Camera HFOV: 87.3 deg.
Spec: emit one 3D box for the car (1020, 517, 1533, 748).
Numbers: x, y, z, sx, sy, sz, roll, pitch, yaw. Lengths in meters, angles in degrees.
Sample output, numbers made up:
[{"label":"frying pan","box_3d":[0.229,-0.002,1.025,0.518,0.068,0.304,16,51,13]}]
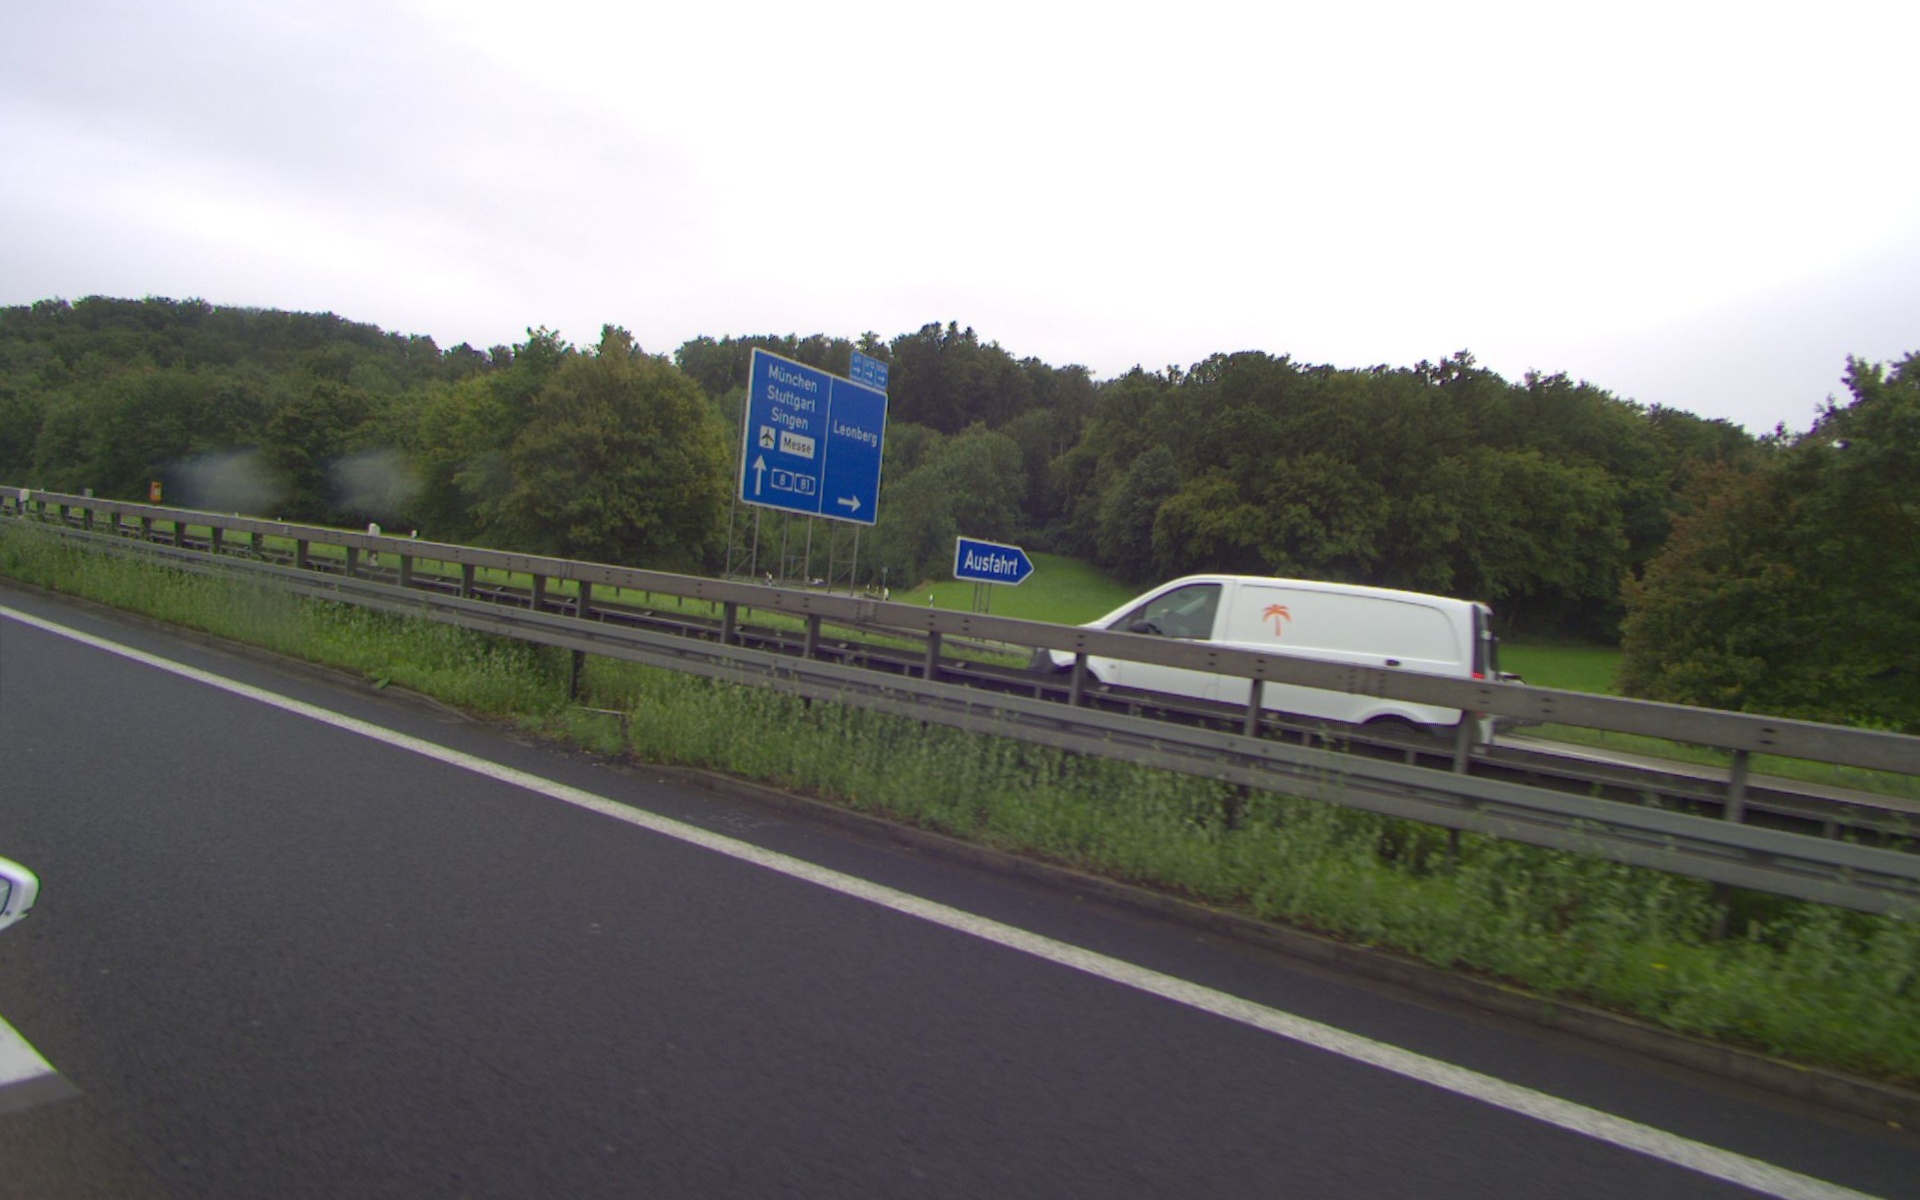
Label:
[{"label":"car","box_3d":[3.198,0.243,10.500,4.641,1.714,1.911,6,0,32]}]
